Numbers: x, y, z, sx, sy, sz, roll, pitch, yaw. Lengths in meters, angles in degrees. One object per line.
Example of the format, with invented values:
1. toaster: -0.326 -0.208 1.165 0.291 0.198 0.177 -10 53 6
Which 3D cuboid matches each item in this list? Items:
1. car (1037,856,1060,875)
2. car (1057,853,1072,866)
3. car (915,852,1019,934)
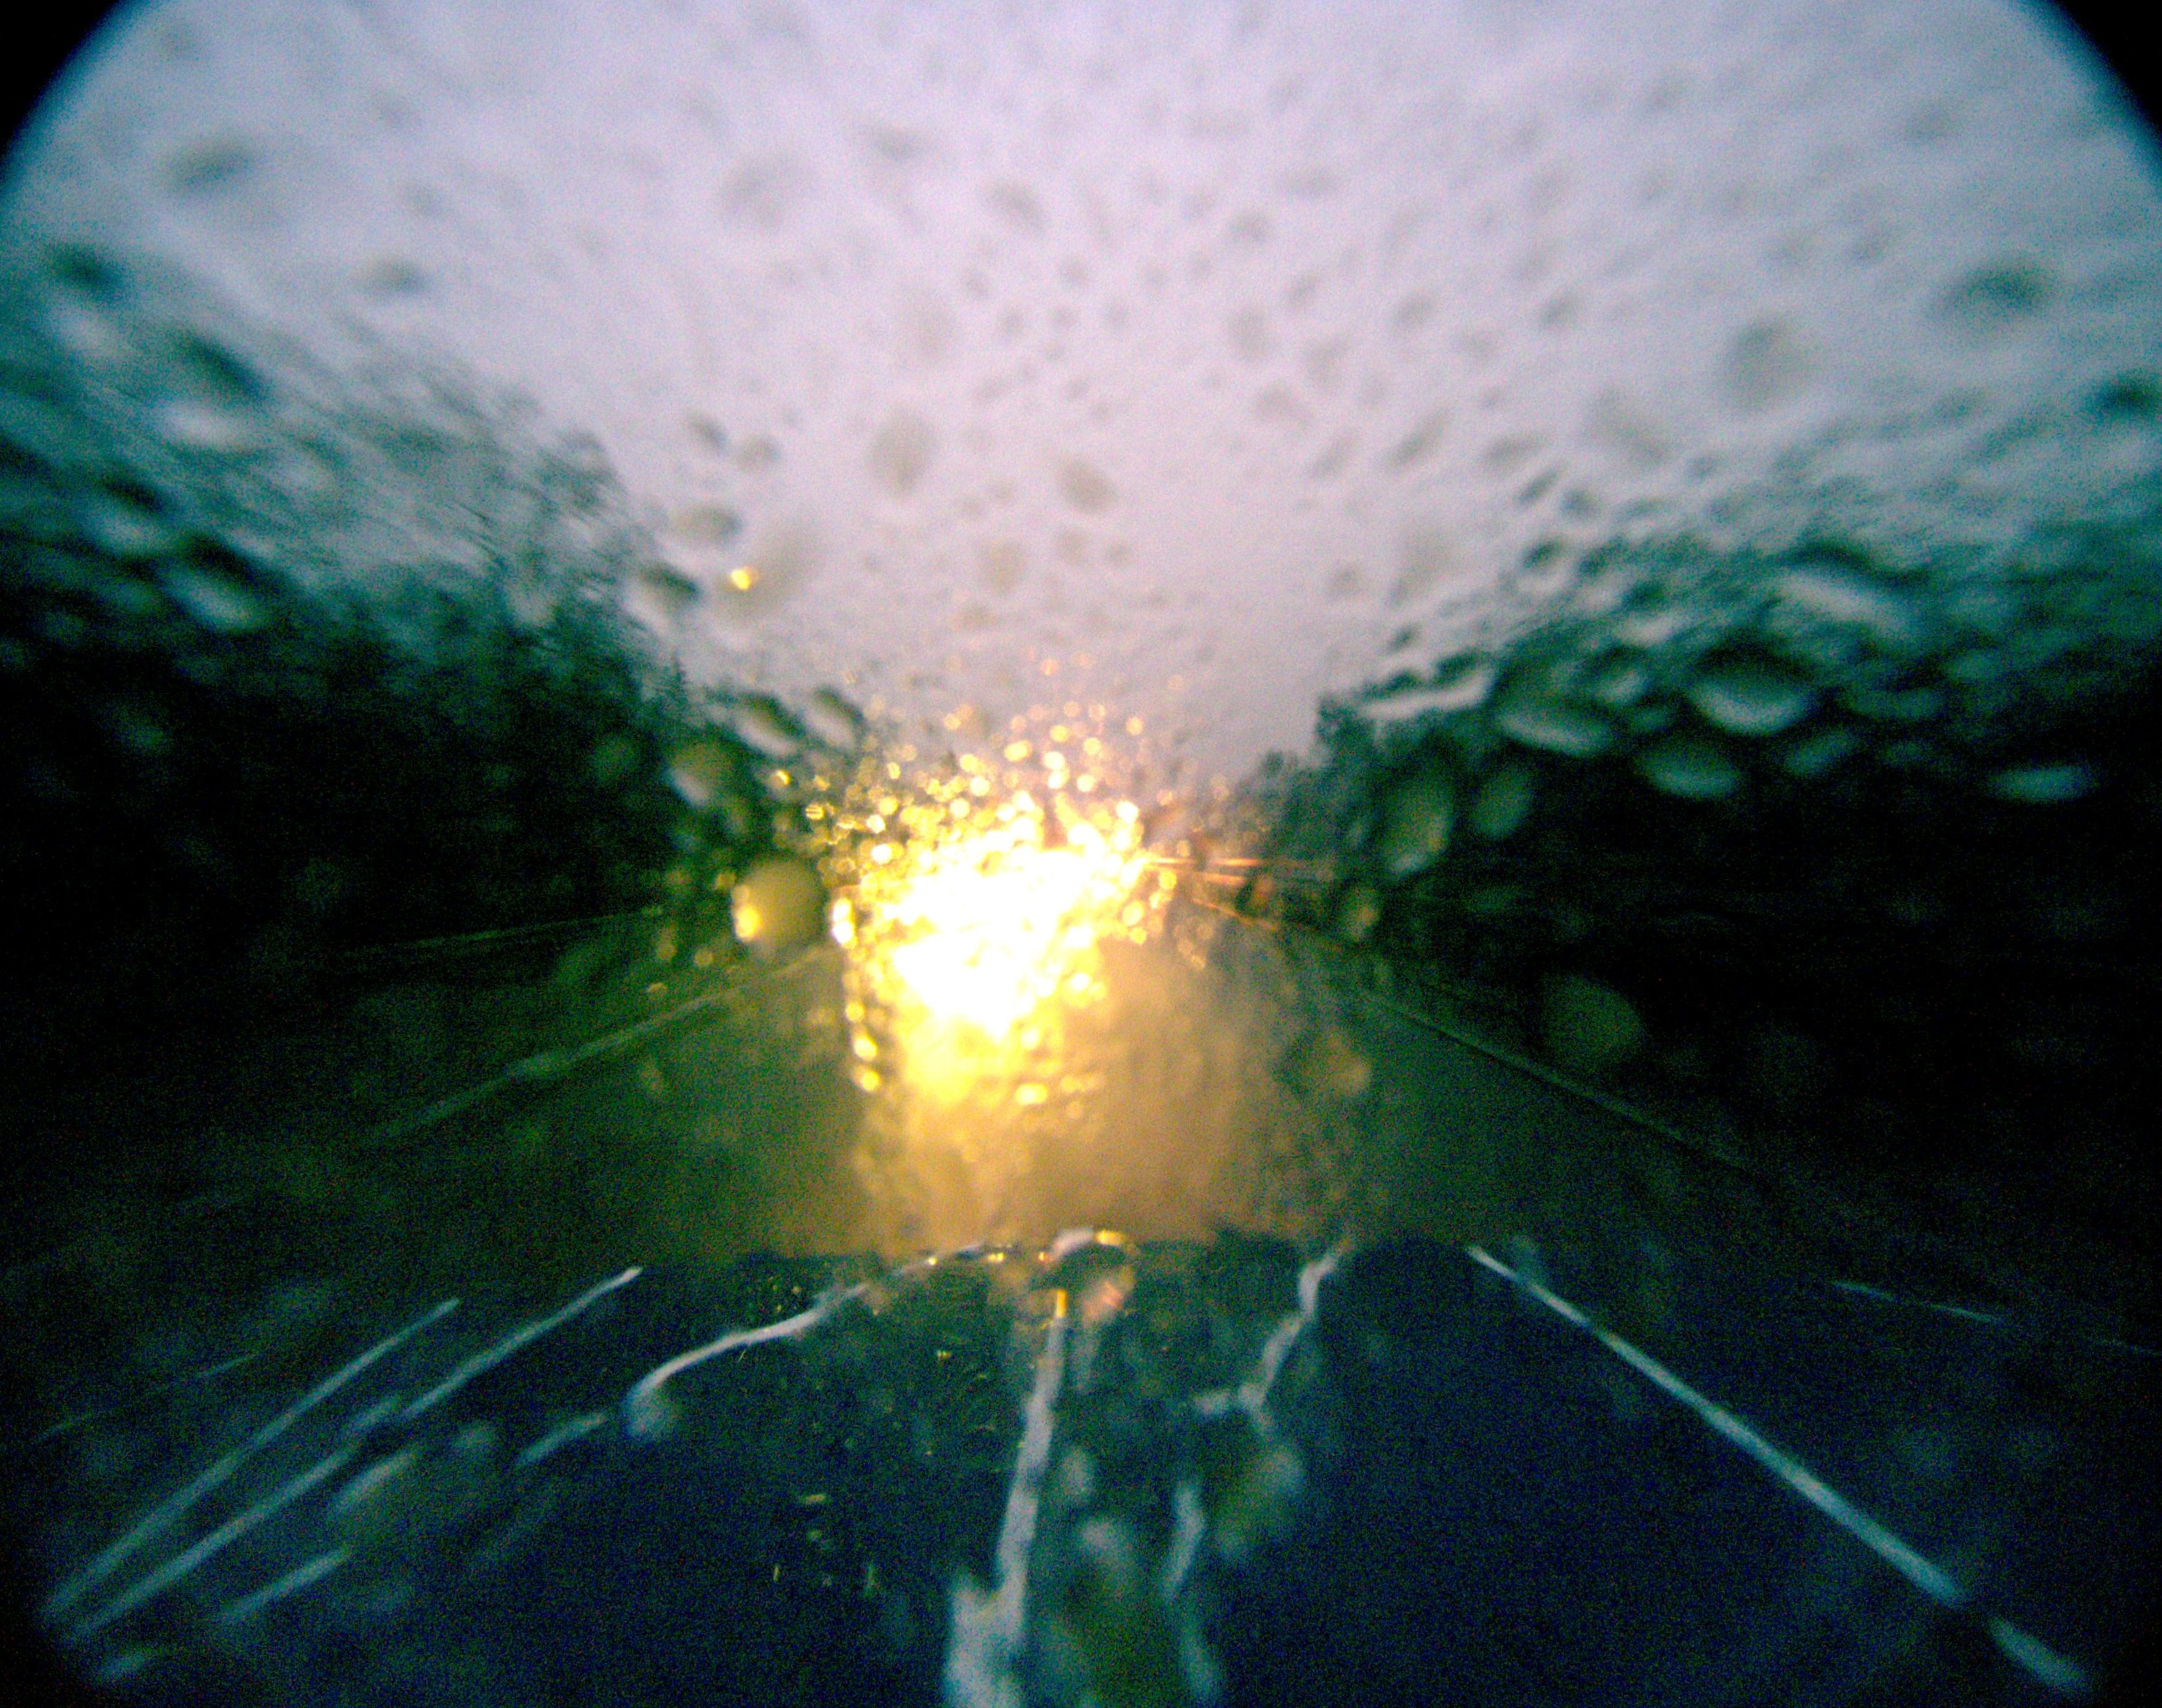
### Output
1. car: -2.585 0.913 60.991 1.603 1.358 3.305 -2 0 2
2. car: -1.937 0.593 90.405 1.741 1.441 3.999 -2 1 0
3. car: -2.758 0.886 19.273 1.929 1.781 3.940 -2 1 0
